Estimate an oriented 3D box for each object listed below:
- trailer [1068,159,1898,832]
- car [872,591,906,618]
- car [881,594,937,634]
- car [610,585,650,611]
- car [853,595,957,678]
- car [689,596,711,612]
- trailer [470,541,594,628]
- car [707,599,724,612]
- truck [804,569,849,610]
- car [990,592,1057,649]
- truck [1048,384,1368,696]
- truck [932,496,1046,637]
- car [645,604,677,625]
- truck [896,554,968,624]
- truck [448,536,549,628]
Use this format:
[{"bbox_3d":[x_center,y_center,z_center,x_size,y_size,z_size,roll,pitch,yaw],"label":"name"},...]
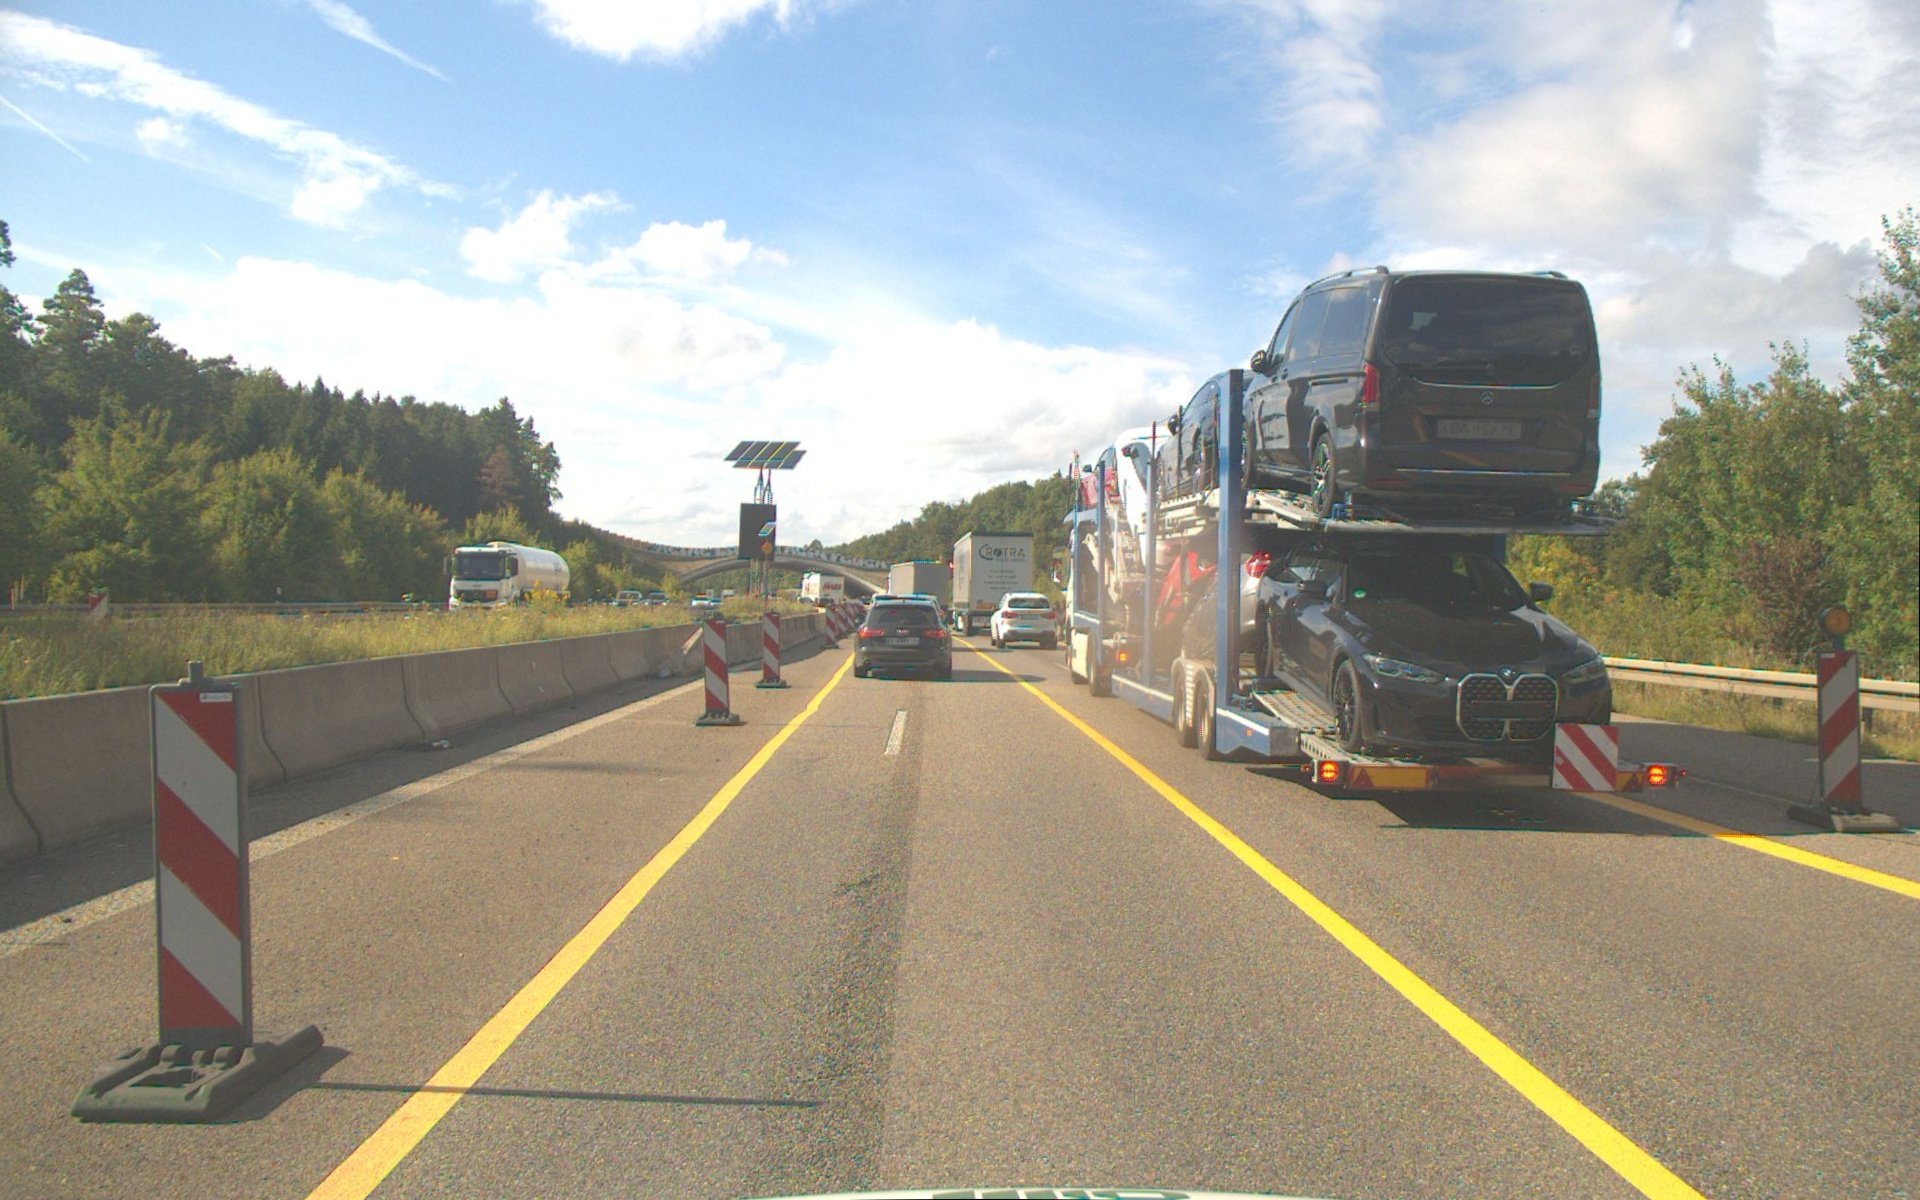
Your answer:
[{"bbox_3d":[3.938,-0.641,18.784,3.651,4.270,16.219,1,0,-2],"label":"trailer"},{"bbox_3d":[-4.529,0.270,104.993,1.854,1.672,4.013,1,0,-6],"label":"car"},{"bbox_3d":[-2.034,0.537,65.493,1.854,1.472,3.994,1,0,-7],"label":"car"},{"bbox_3d":[-21.210,-0.117,106.409,1.742,1.630,4.017,1,0,-1],"label":"car"},{"bbox_3d":[-1.005,0.662,31.720,1.852,1.472,3.999,1,0,-1],"label":"car"},{"bbox_3d":[-28.154,0.457,179.479,1.742,1.630,4.017,1,0,-1],"label":"car"},{"bbox_3d":[-18.889,-0.617,73.835,2.745,3.551,11.110,1,0,-1],"label":"trailer"},{"bbox_3d":[-30.822,0.659,208.447,1.743,1.630,4.671,1,0,-5],"label":"car"},{"bbox_3d":[-14.084,-1.069,173.383,3.588,3.997,11.039,1,0,-10],"label":"truck"},{"bbox_3d":[1.926,0.615,51.378,1.852,1.672,4.017,1,0,-1],"label":"car"},{"bbox_3d":[3.681,-0.822,27.013,3.686,4.270,7.947,1,0,-2],"label":"truck"},{"bbox_3d":[0.996,-1.312,72.867,3.605,5.447,16.188,1,0,-4],"label":"truck"},{"bbox_3d":[-23.799,1.166,131.764,1.919,1.616,4.480,1,0,-2],"label":"car"},{"bbox_3d":[-2.101,-0.714,118.342,4.235,4.681,11.112,1,0,-5],"label":"truck"},{"bbox_3d":[-18.798,-0.706,67.677,2.728,3.551,4.938,1,0,-1],"label":"truck"}]
